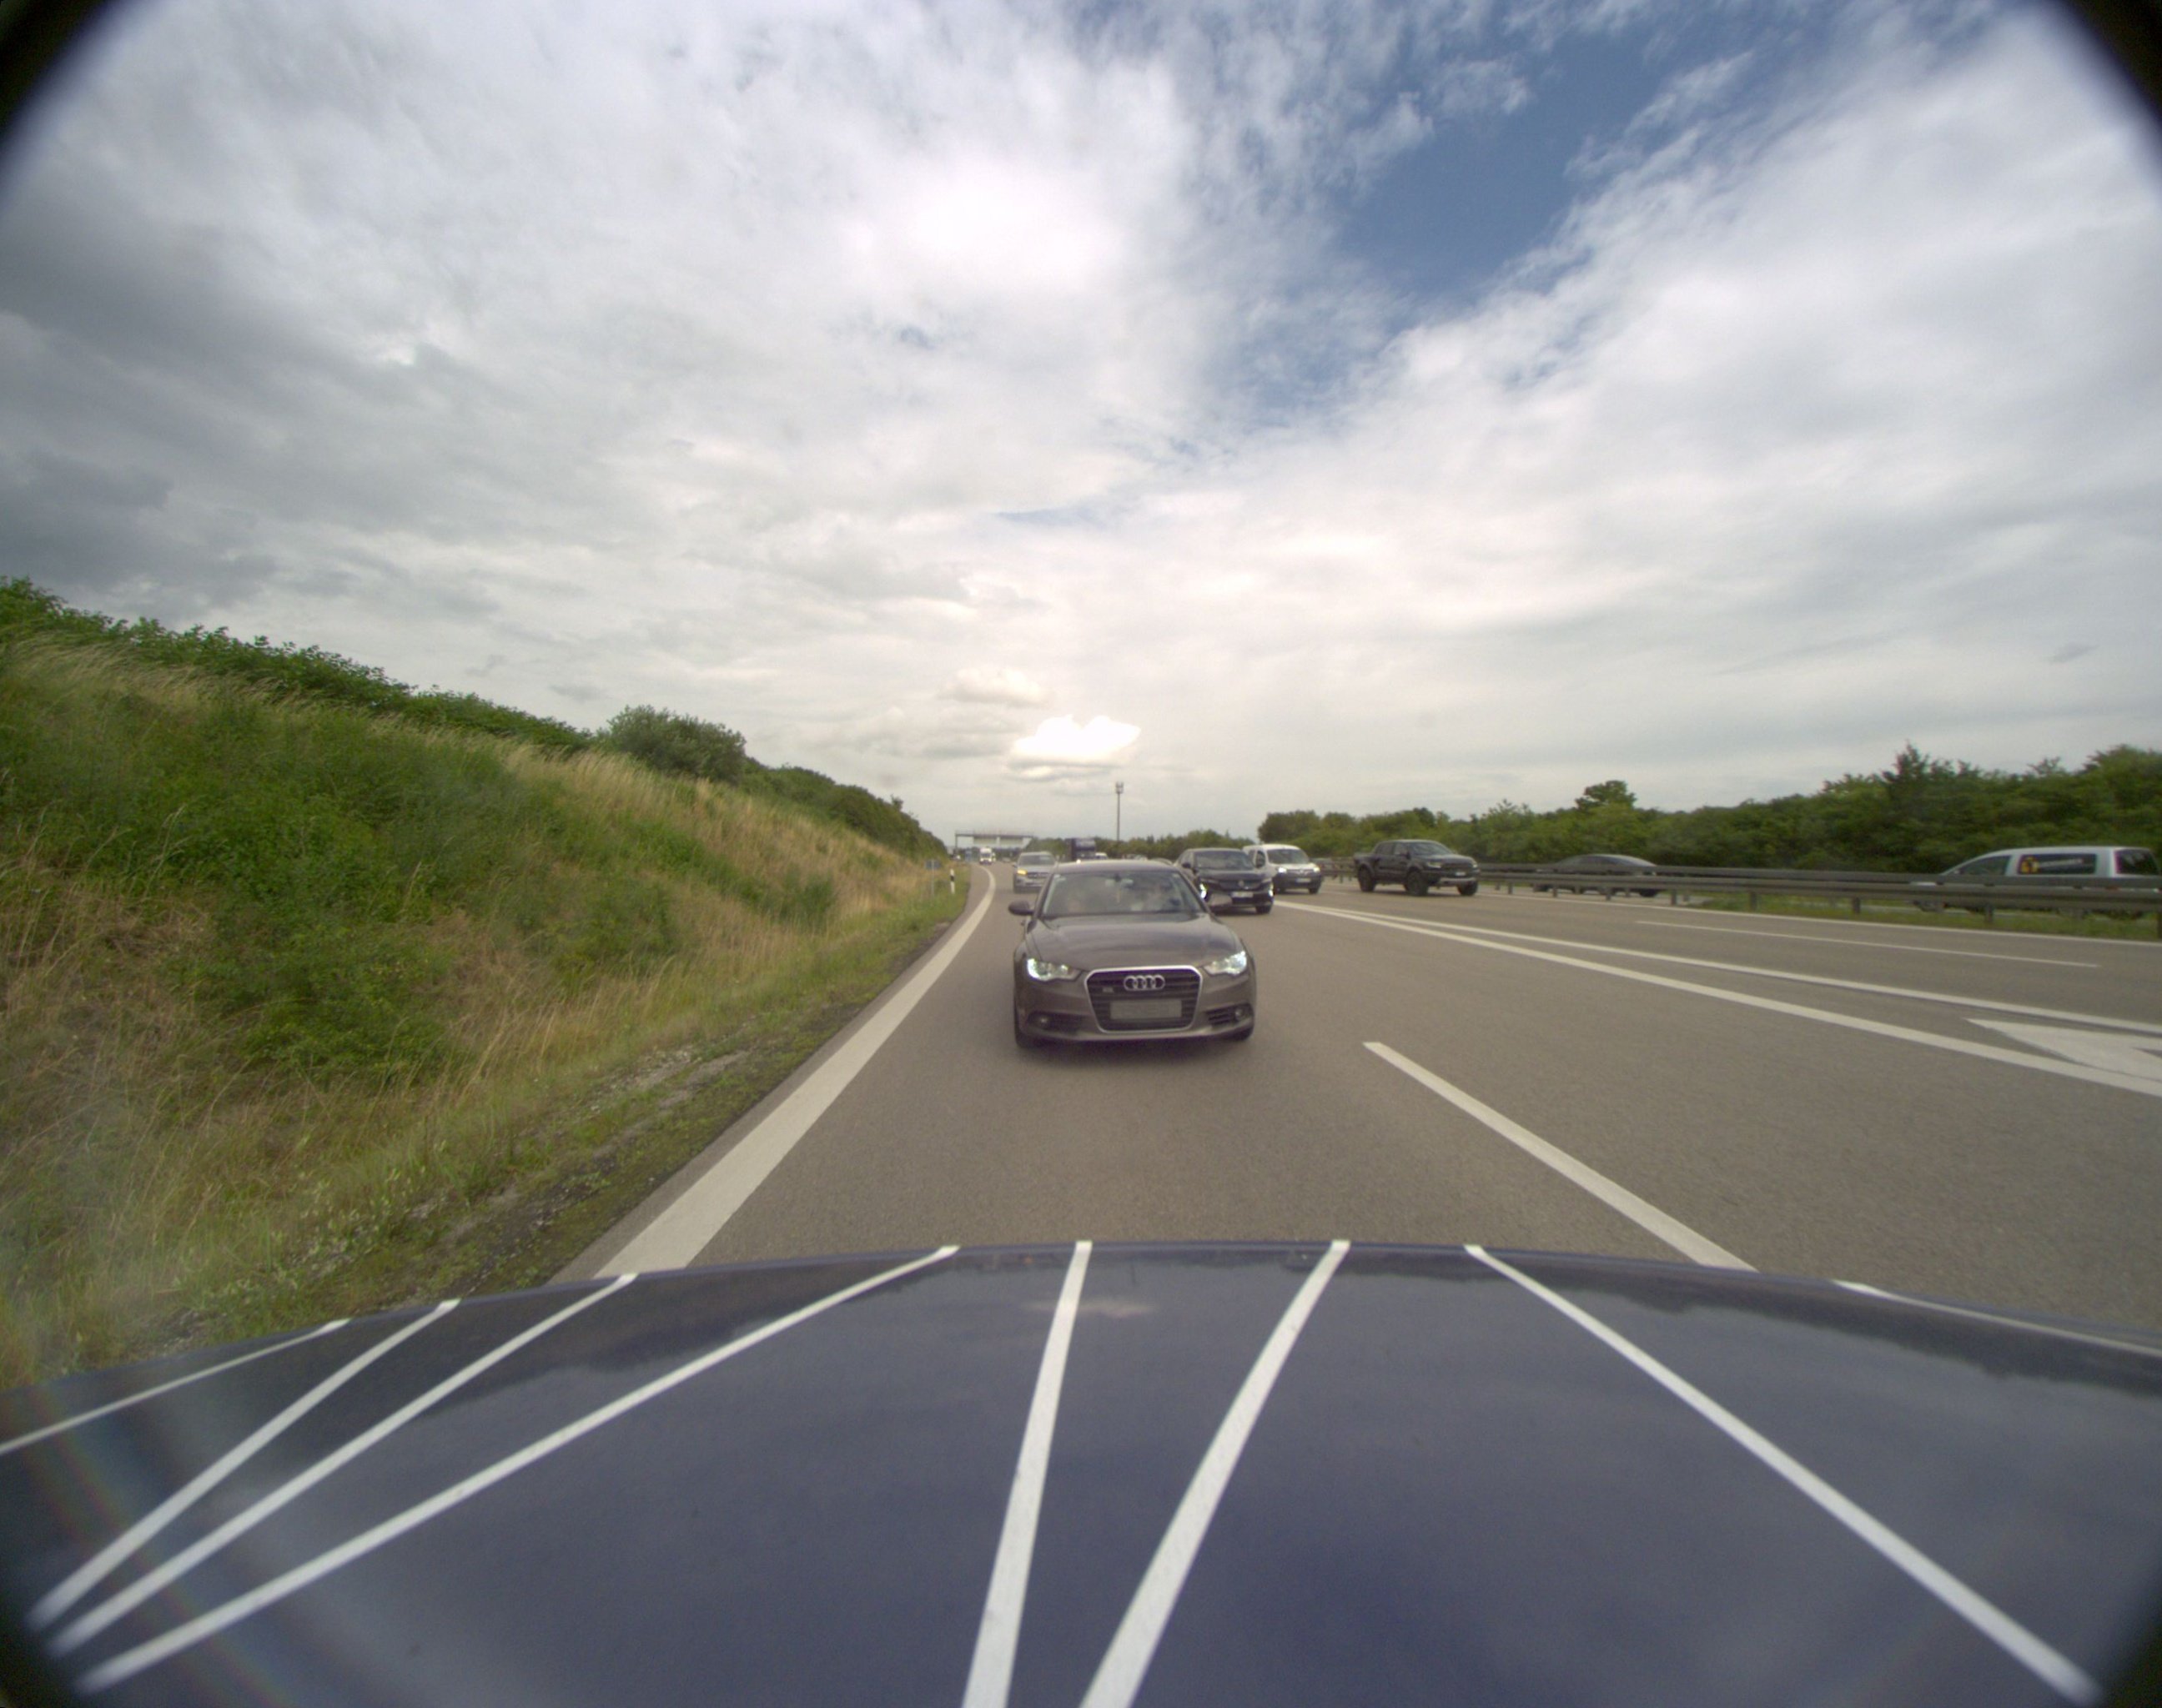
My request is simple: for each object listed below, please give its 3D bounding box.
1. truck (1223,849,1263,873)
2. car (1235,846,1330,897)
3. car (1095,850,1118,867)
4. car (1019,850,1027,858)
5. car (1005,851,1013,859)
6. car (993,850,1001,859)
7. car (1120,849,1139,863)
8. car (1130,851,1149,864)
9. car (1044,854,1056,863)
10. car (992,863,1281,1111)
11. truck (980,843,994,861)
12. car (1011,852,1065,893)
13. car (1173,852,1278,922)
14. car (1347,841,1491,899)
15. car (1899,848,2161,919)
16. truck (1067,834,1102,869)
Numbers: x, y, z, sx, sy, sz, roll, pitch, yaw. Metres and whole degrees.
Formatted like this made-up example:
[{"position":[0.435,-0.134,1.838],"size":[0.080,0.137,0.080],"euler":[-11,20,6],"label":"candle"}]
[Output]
[{"position":[14.356,0.595,67.675],"size":[2.000,2.002,4.715],"euler":[-1,0,-7],"label":"truck"},{"position":[7.318,0.592,28.128],"size":[1.882,1.741,4.484],"euler":[-1,0,-7],"label":"car"},{"position":[2.760,0.480,83.868],"size":[2.000,1.799,3.997],"euler":[0,0,-7],"label":"car"},{"position":[-14.966,0.020,197.386],"size":[1.999,2.002,3.999],"euler":[0,0,-3],"label":"car"},{"position":[-19.428,0.173,206.327],"size":[1.999,2.002,3.998],"euler":[-2,1,-4],"label":"car"},{"position":[-21.942,0.073,198.309],"size":[1.999,2.381,3.997],"euler":[-2,1,-6],"label":"car"},{"position":[8.577,0.337,135.290],"size":[2.169,2.317,6.672],"euler":[-1,0,-8],"label":"car"},{"position":[9.693,0.501,125.873],"size":[2.169,2.120,4.871],"euler":[-1,0,-8],"label":"car"},{"position":[-6.066,0.788,147.363],"size":[2.000,1.733,4.825],"euler":[0,0,-7],"label":"car"},{"position":[0.314,0.888,6.947],"size":[1.849,1.489,4.028],"euler":[-1,0,-2],"label":"car"},{"position":[-17.703,-0.343,142.976],"size":[2.450,3.216,7.186],"euler":[-1,0,-8],"label":"truck"},{"position":[-1.835,0.701,31.546],"size":[2.000,1.567,3.997],"euler":[-1,0,-7],"label":"car"},{"position":[3.533,0.745,19.407],"size":[1.838,1.557,4.497],"euler":[-1,0,0],"label":"car"},{"position":[11.303,0.479,25.950],"size":[2.000,1.775,5.408],"euler":[-1,0,-7],"label":"car"},{"position":[24.596,0.685,19.842],"size":[2.000,1.641,3.997],"euler":[-1,0,-8],"label":"car"},{"position":[0.277,-0.147,76.235],"size":[2.475,3.350,7.920],"euler":[-1,-1,-7],"label":"truck"}]
